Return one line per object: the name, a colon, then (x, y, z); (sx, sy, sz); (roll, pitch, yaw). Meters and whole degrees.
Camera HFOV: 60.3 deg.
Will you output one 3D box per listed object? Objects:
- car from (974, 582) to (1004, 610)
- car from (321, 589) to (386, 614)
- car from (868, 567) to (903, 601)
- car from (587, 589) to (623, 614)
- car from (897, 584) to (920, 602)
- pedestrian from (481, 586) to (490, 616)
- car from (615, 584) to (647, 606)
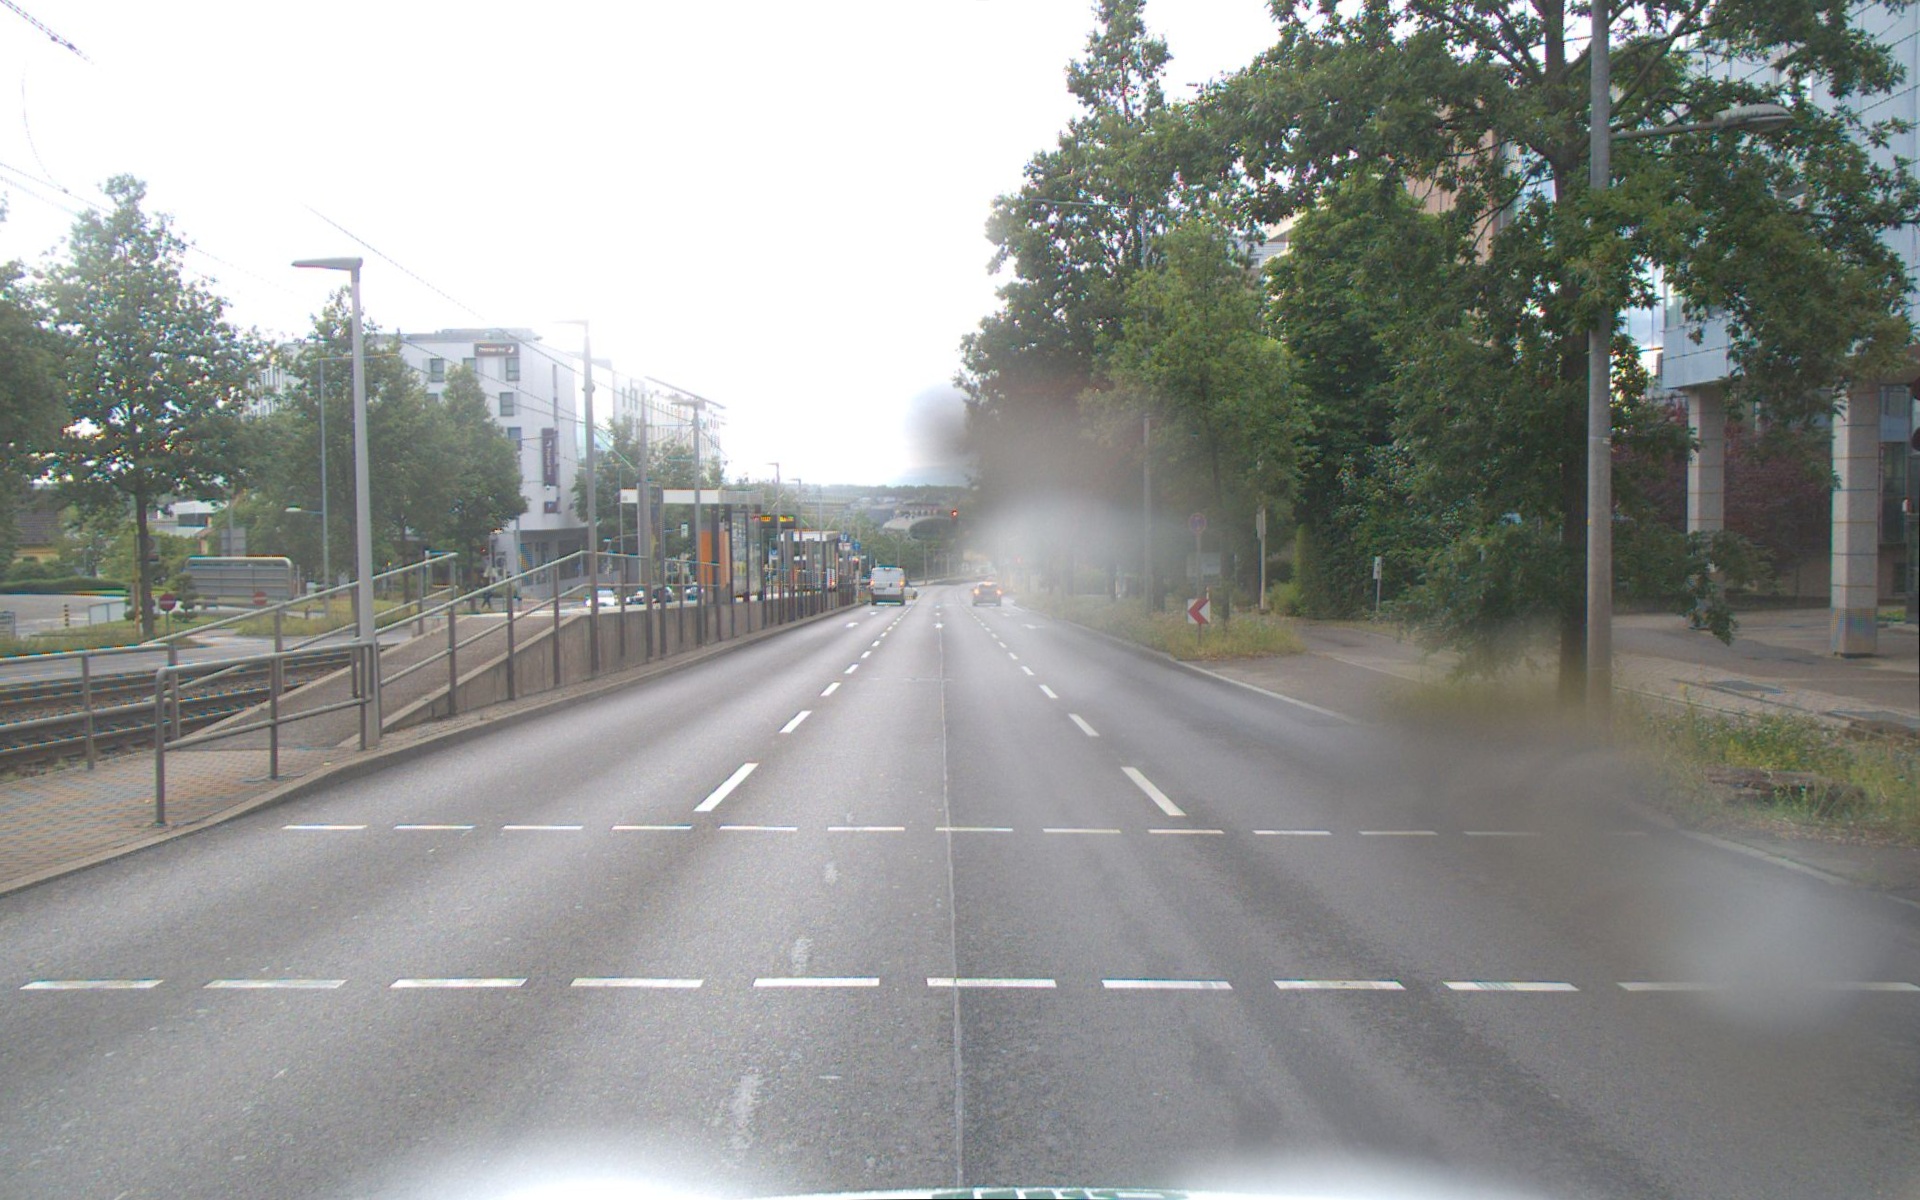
car: (1.804, -0.243, 102.808); (1.738, 1.720, 3.845); (0, 1, -1)
car: (-34.884, 0.072, 95.191); (3.297, 1.411, 1.434); (0, 1, 16)
car: (-4.573, -0.989, 102.400); (2.050, 2.089, 4.605); (0, 1, -1)
car: (-22.448, 0.096, 104.704); (1.618, 1.461, 3.877); (-2, 1, -4)
car: (-4.136, -0.610, 133.508); (1.747, 1.414, 3.999); (0, 1, -1)
pedestrian: (-30.975, 0.075, 107.886); (0.465, 1.954, 0.490); (0, 0, -1)
car: (-22.152, -0.349, 111.464); (1.536, 1.402, 3.517); (0, 1, -3)
